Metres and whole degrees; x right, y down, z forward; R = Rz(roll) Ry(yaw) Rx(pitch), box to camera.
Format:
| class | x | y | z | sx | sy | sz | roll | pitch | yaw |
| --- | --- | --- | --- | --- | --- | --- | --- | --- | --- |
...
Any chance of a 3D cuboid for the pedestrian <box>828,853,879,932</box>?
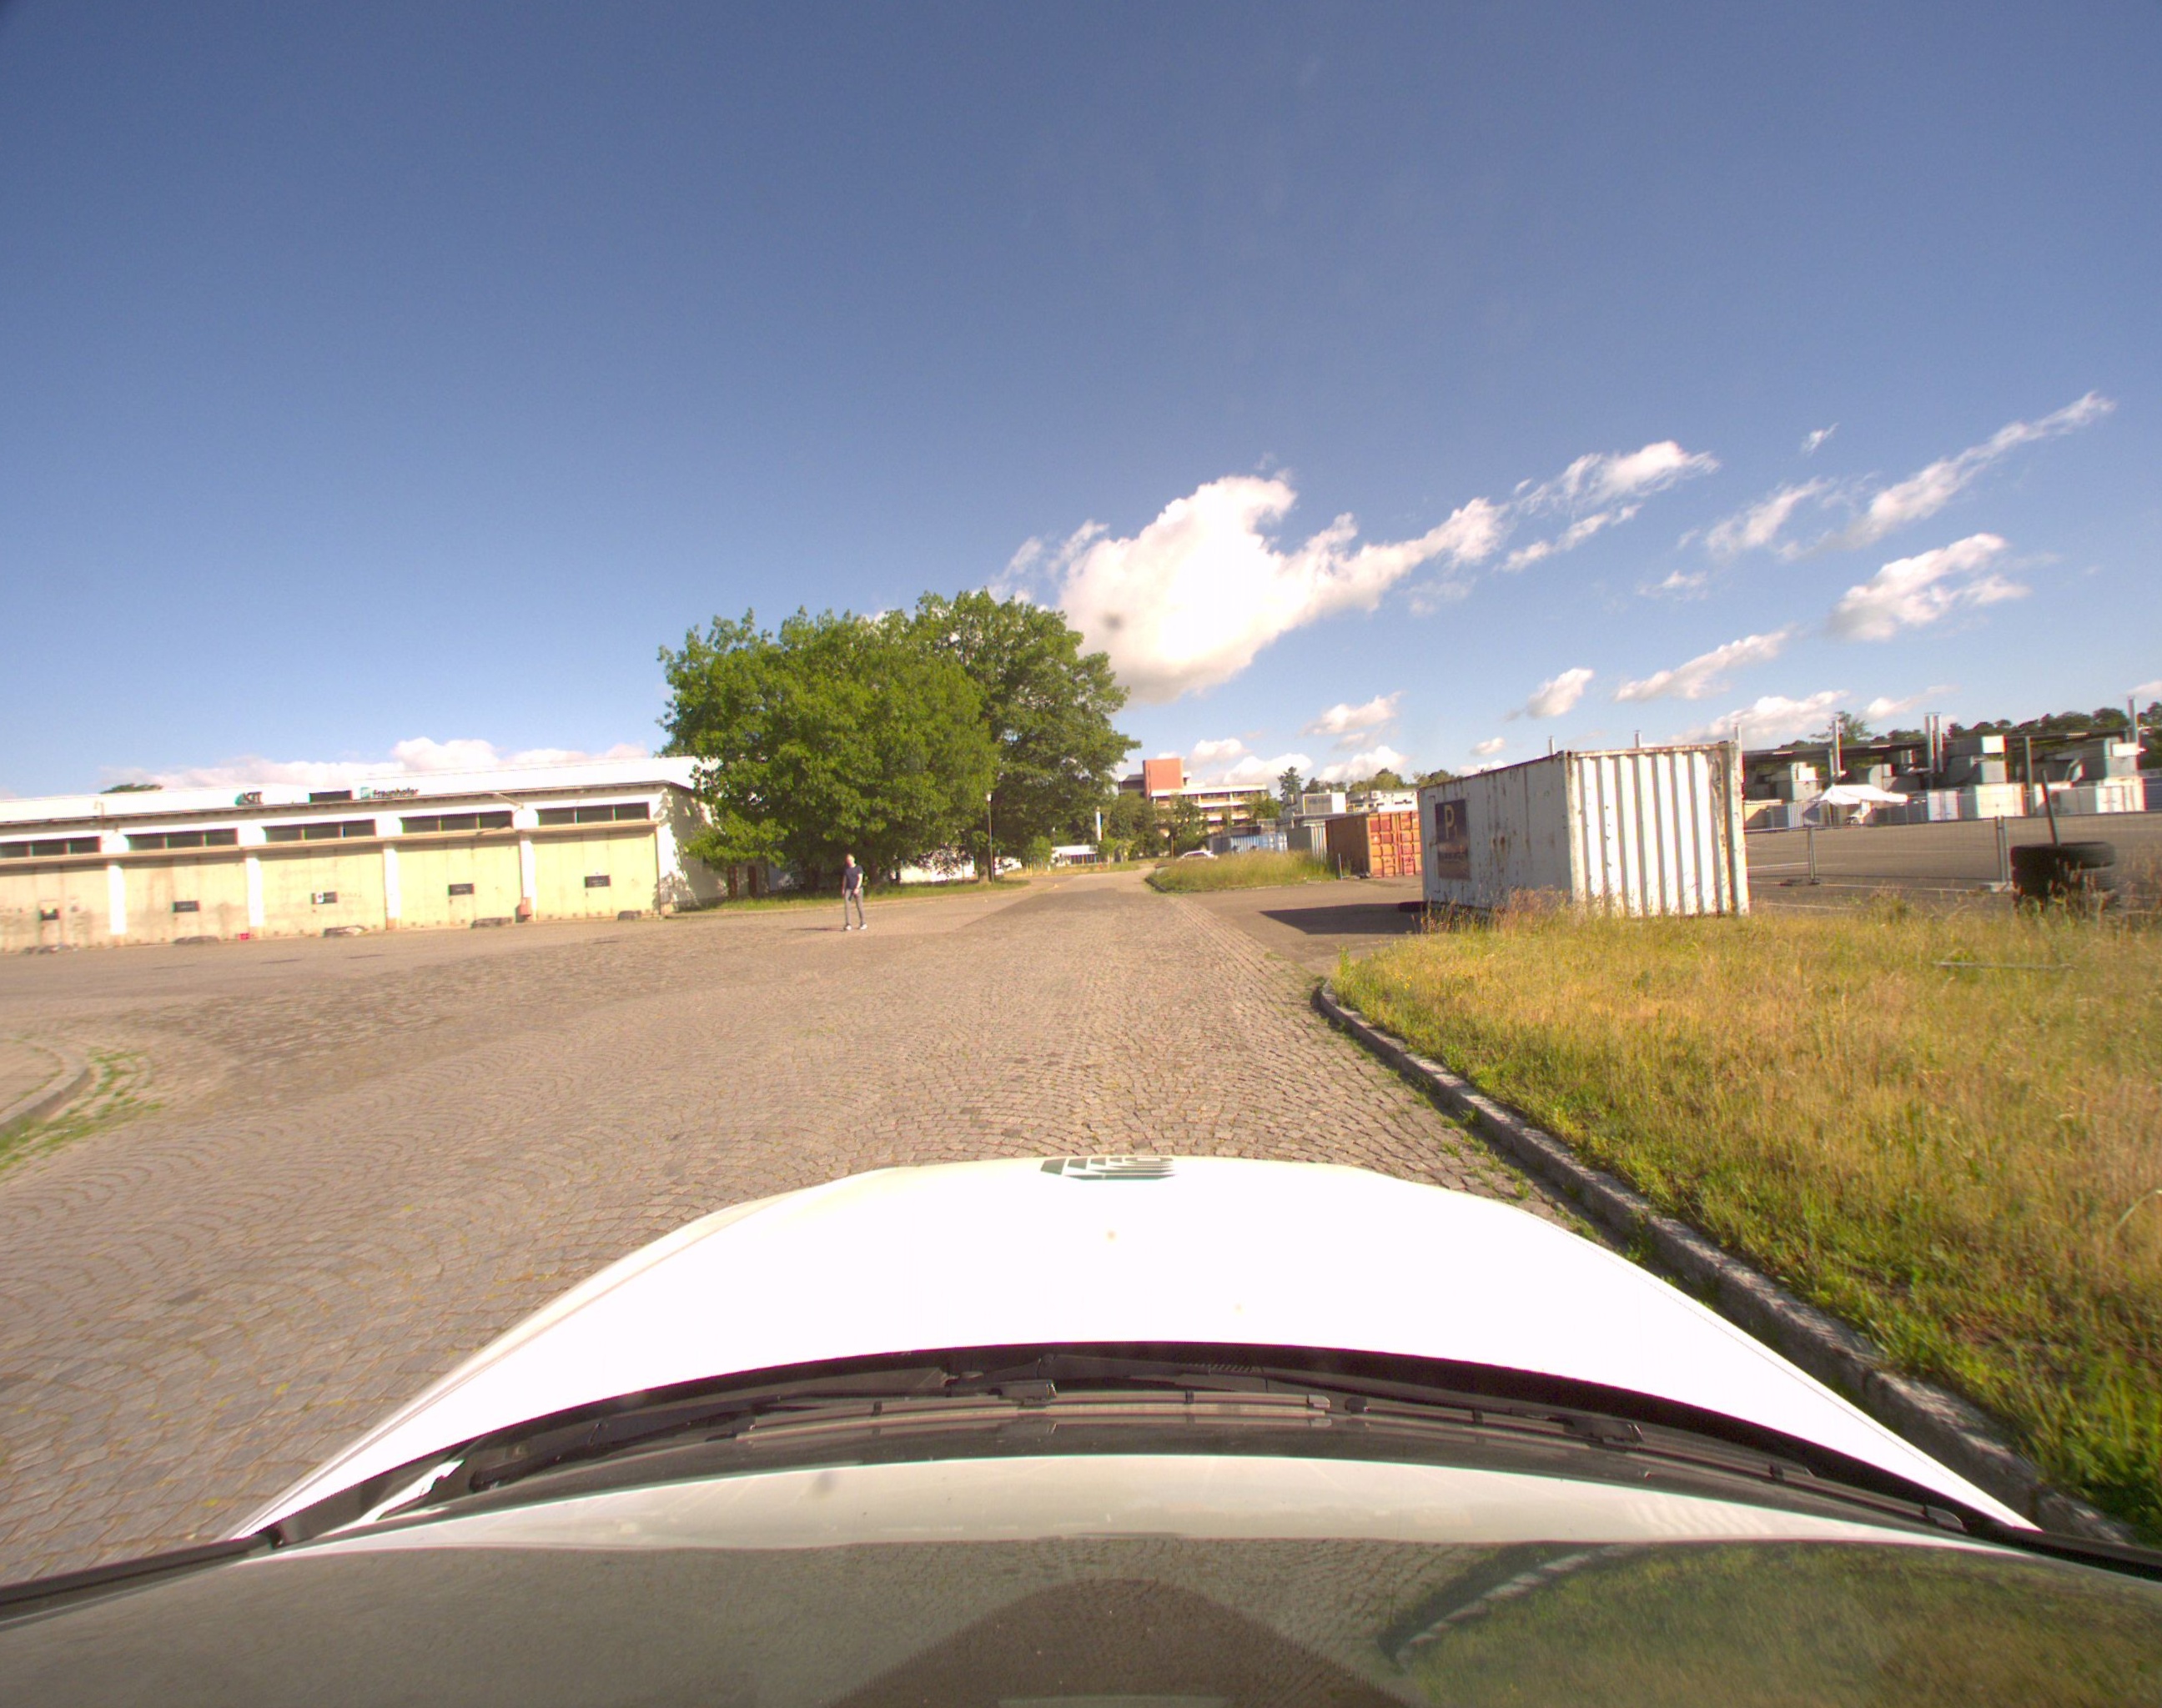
| class | x | y | z | sx | sy | sz | roll | pitch | yaw |
| --- | --- | --- | --- | --- | --- | --- | --- | --- | --- |
| pedestrian | -5.770 | 0.950 | 20.734 | 0.794 | 1.914 | 1.143 | -4 | -1 | 3 |

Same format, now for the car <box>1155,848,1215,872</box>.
| class | x | y | z | sx | sy | sz | roll | pitch | yaw |
| --- | --- | --- | --- | --- | --- | --- | --- | --- | --- |
| car | 8.382 | 0.492 | 65.667 | 4.571 | 1.677 | 1.876 | -4 | 0 | 1 |
